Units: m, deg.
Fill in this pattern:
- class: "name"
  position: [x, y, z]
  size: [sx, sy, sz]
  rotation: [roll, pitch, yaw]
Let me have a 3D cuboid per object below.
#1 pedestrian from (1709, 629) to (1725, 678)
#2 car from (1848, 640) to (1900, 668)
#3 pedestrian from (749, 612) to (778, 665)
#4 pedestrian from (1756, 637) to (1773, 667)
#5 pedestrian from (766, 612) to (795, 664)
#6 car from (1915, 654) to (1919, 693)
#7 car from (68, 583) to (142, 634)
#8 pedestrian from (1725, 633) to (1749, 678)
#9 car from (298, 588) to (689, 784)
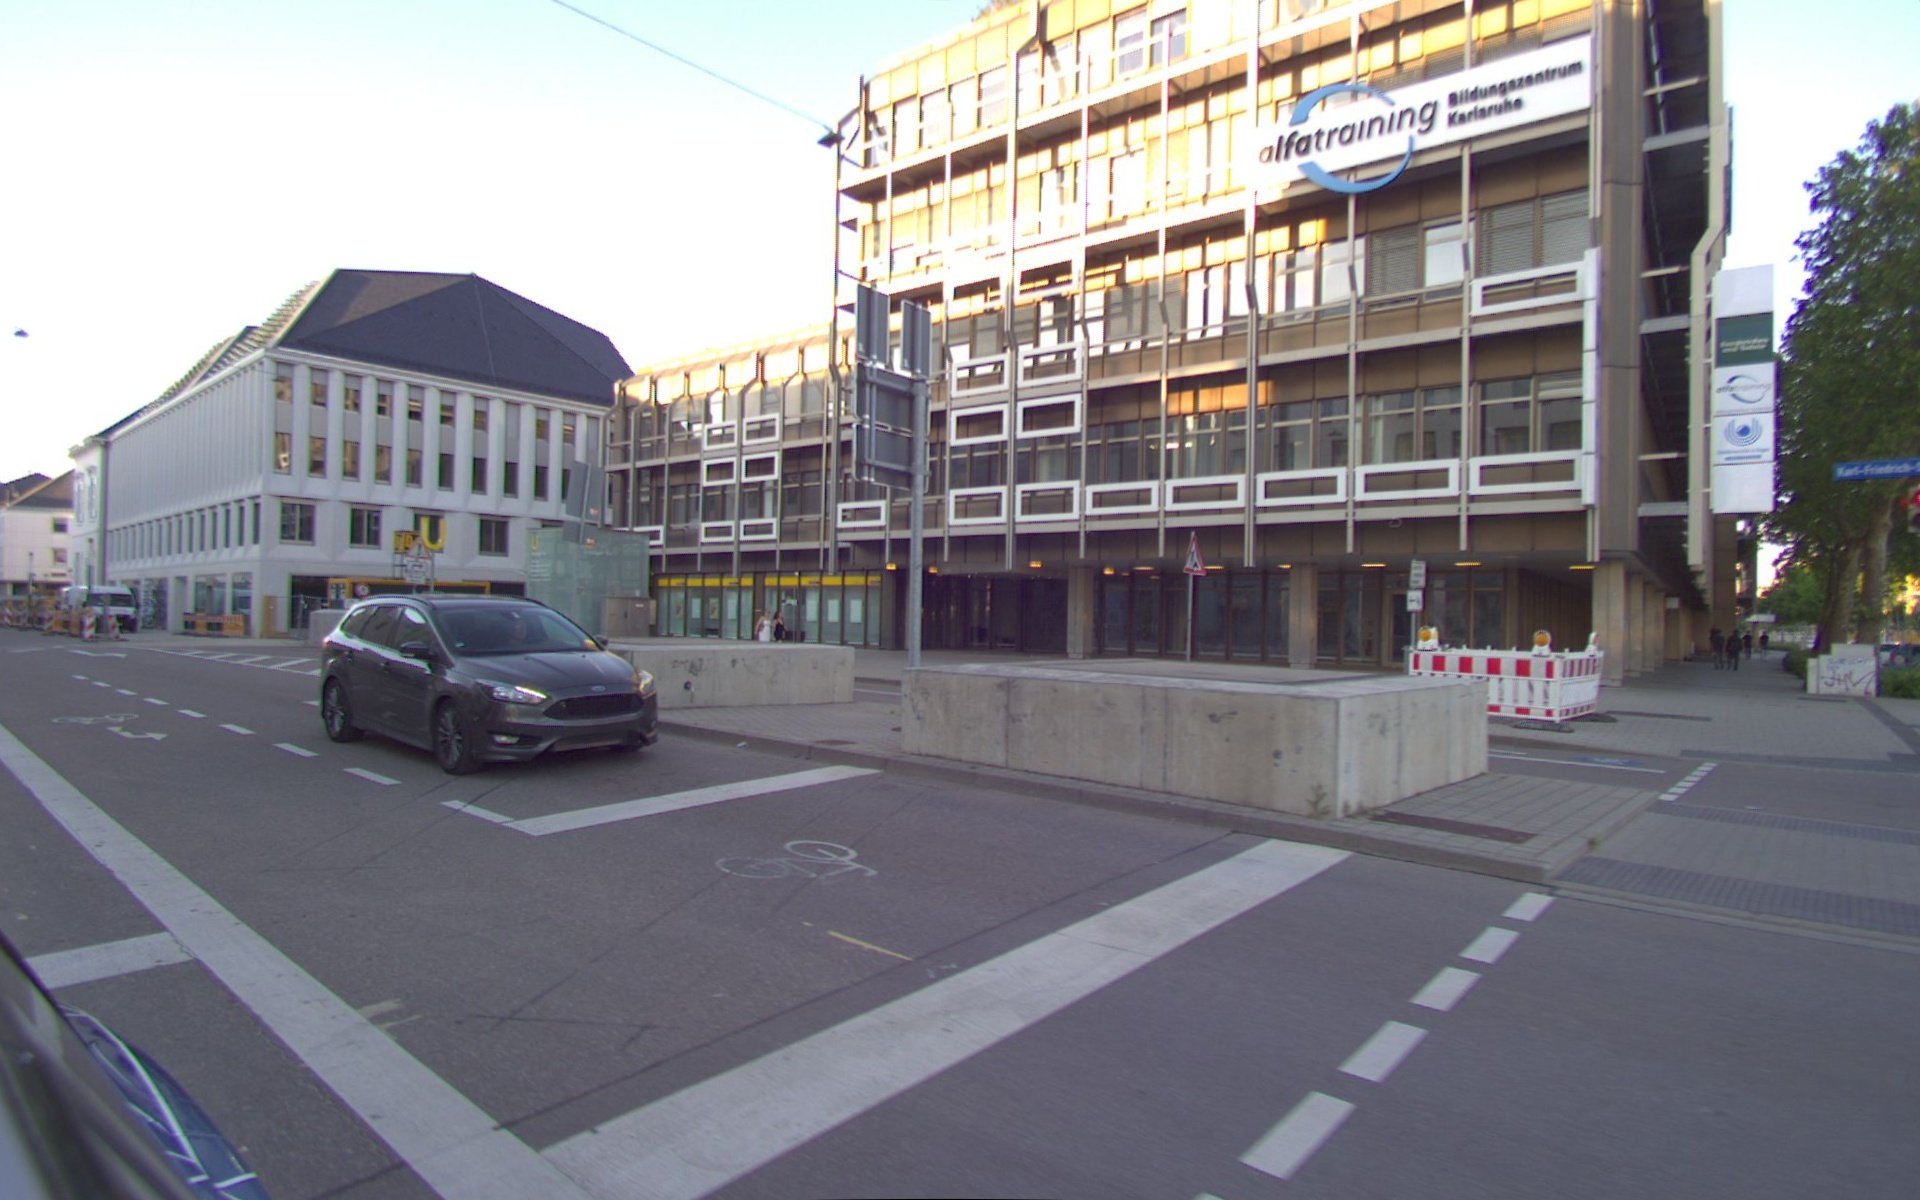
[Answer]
- class: "pedestrian"
  position: [32.291, 2.267, 43.153]
  size: [0.516, 2.029, 0.574]
  rotation: [1, 1, 36]
- class: "car"
  position: [55.971, 3.281, 62.038]
  size: [1.738, 1.596, 4.537]
  rotation: [-1, -2, 34]
- class: "pedestrian"
  position: [-6.226, 1.229, 32.124]
  size: [0.583, 1.651, 0.662]
  rotation: [0, -2, 41]
- class: "pedestrian"
  position: [50.844, 3.259, 63.963]
  size: [0.755, 1.819, 0.713]
  rotation: [1, 1, 36]
- class: "pedestrian"
  position: [-5.783, 1.214, 32.602]
  size: [0.702, 1.651, 0.608]
  rotation: [0, -2, 41]
- class: "car"
  position: [41.271, 3.118, 42.263]
  size: [1.741, 1.596, 4.529]
  rotation: [-1, -2, 40]
- class: "car"
  position: [-45.838, 0.457, 54.208]
  size: [6.047, 2.575, 2.114]
  rotation: [0, -2, 41]
- class: "pedestrian"
  position: [32.491, 2.314, 42.322]
  size: [0.755, 1.819, 0.713]
  rotation: [1, 1, 36]
- class: "car"
  position: [-4.615, 0.645, 9.702]
  size: [4.377, 1.473, 1.740]
  rotation: [0, 0, 40]
